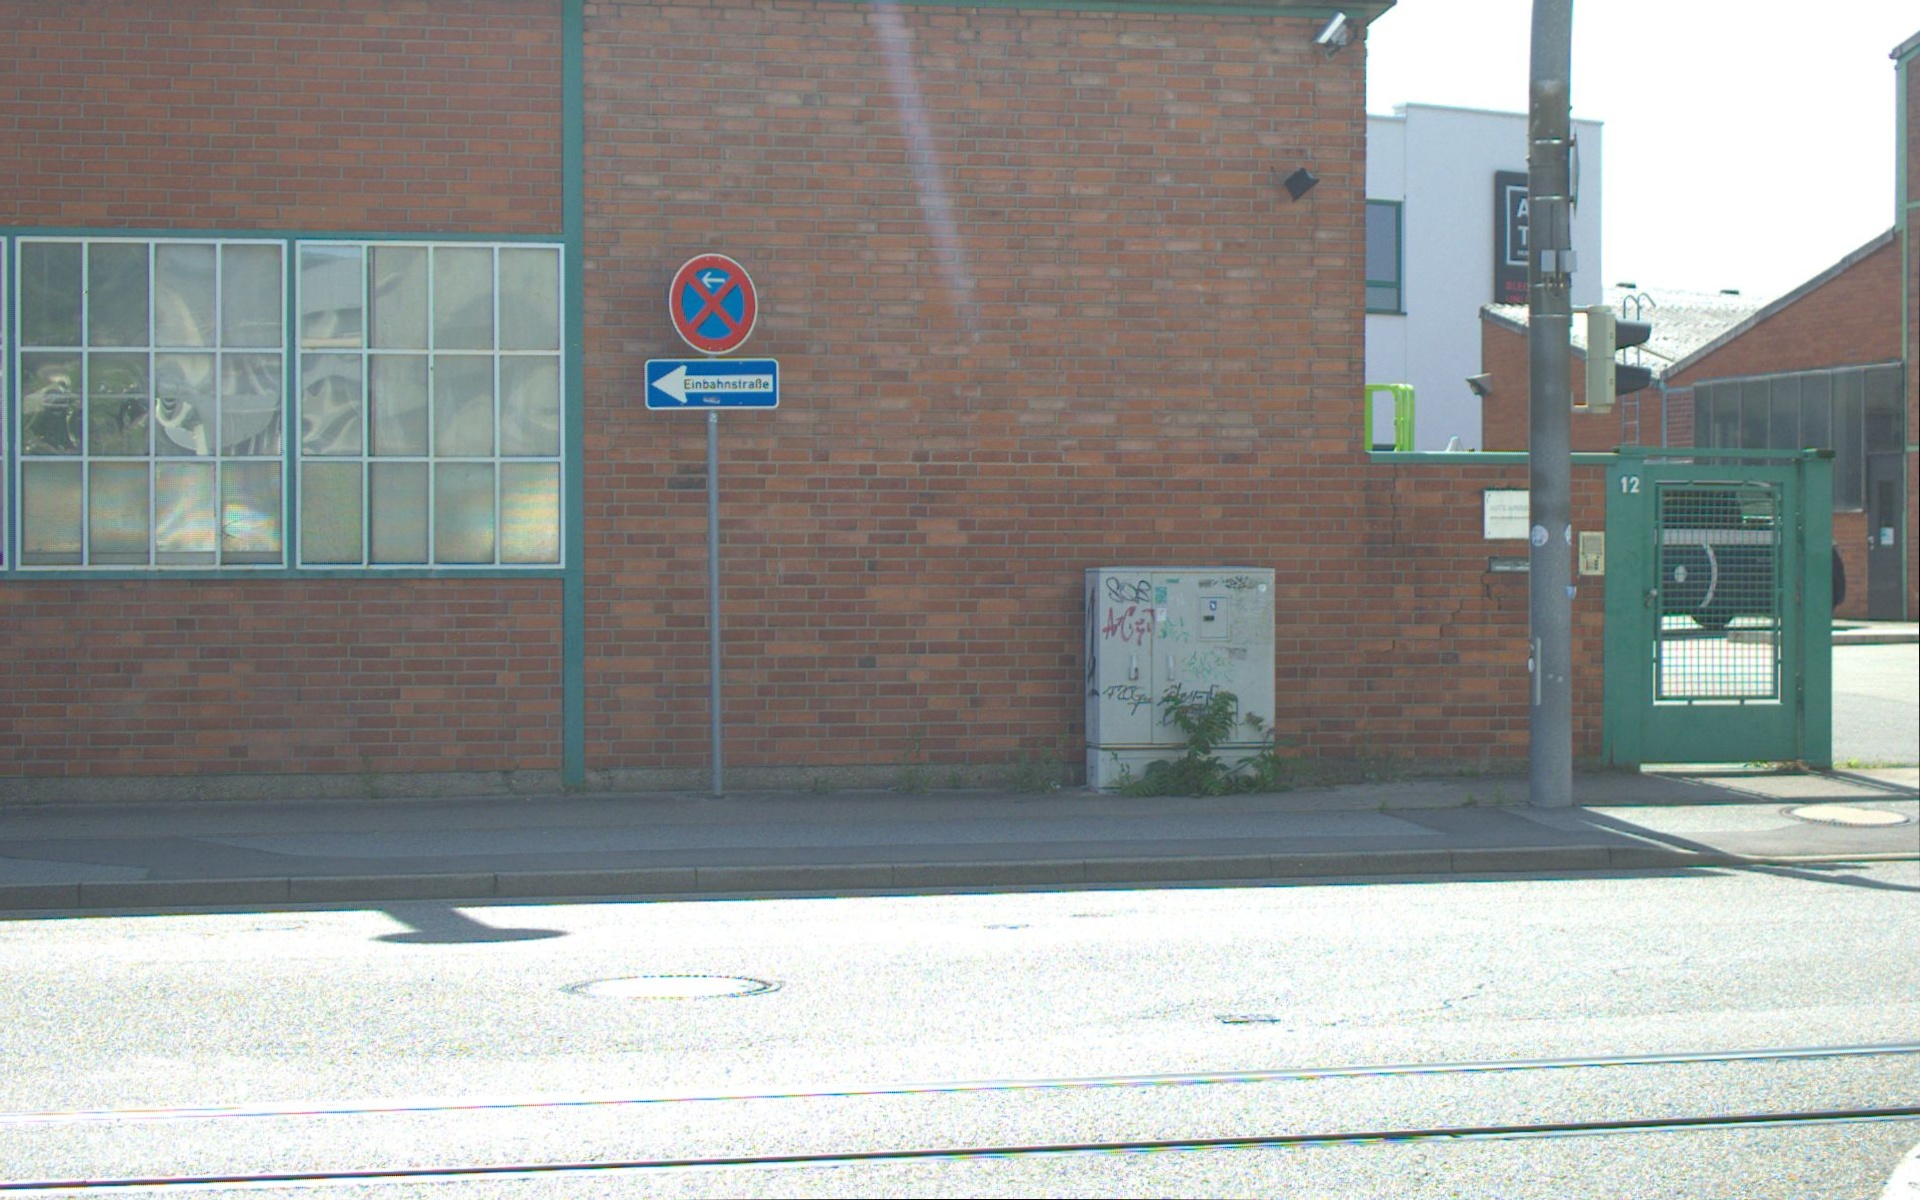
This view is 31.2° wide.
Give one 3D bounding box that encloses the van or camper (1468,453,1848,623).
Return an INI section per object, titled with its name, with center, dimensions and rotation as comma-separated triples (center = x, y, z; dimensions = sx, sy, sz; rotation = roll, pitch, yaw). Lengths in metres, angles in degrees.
[van or camper]
center = 8.584, -0.736, 42.166
dimensions = 4.407, 1.894, 2.000
rotation = 2, 0, -35
